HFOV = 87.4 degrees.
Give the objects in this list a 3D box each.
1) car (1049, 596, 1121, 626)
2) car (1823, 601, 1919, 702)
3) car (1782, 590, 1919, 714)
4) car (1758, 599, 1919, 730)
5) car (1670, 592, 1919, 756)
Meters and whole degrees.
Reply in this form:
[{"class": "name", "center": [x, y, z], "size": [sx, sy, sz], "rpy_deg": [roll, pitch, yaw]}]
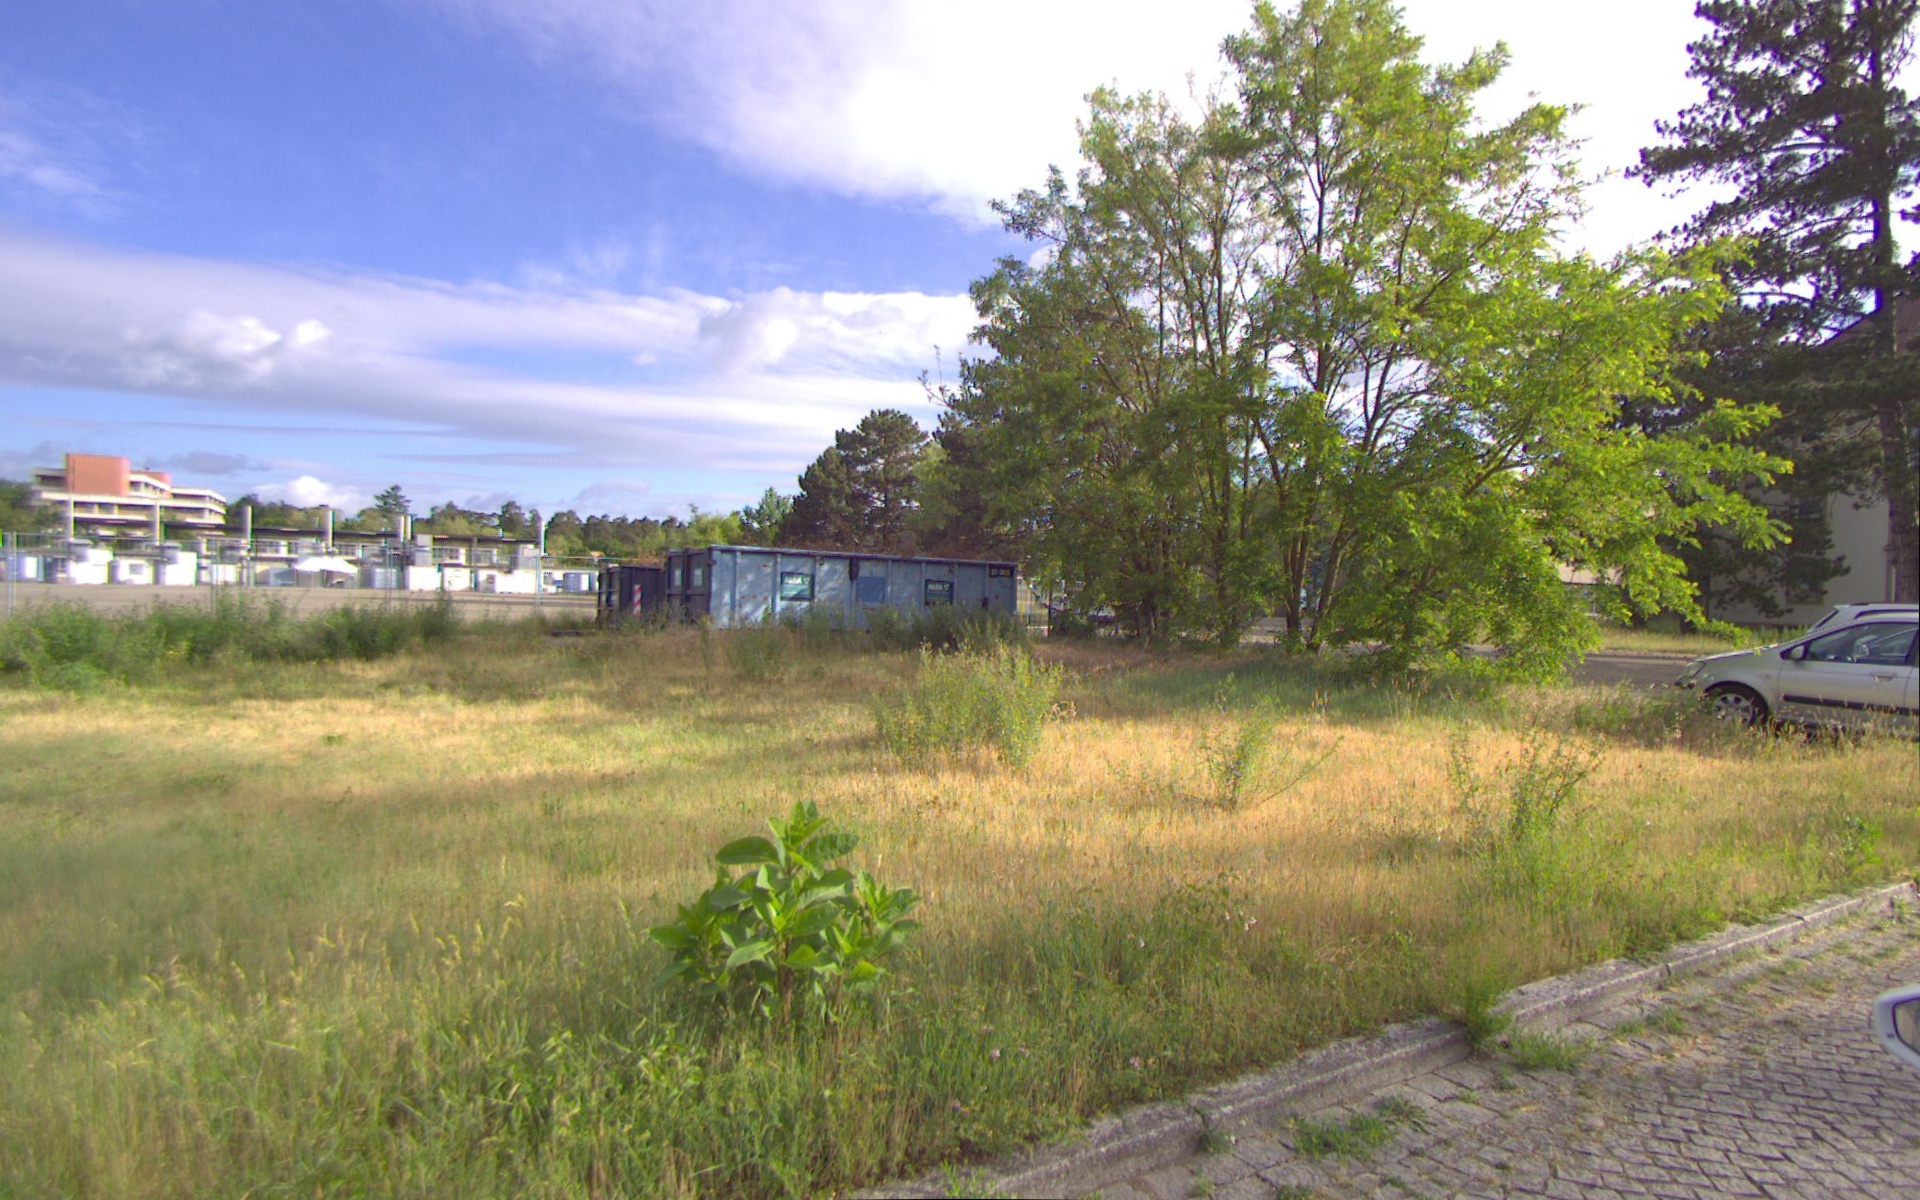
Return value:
[{"class": "car", "center": [6.488, 0.566, 52.499], "size": [1.645, 1.400, 3.969], "rpy_deg": [2, 0, -29]}, {"class": "car", "center": [16.421, 0.921, 15.312], "size": [1.882, 1.475, 4.560], "rpy_deg": [-1, 4, -32]}, {"class": "car", "center": [14.319, 0.814, 13.929], "size": [1.840, 1.621, 4.094], "rpy_deg": [1, 3, -35]}, {"class": "car", "center": [12.312, 0.856, 12.072], "size": [1.838, 1.449, 3.808], "rpy_deg": [2, 3, -31]}, {"class": "car", "center": [10.088, 0.793, 10.678], "size": [1.829, 1.493, 3.662], "rpy_deg": [1, 3, -32]}]
